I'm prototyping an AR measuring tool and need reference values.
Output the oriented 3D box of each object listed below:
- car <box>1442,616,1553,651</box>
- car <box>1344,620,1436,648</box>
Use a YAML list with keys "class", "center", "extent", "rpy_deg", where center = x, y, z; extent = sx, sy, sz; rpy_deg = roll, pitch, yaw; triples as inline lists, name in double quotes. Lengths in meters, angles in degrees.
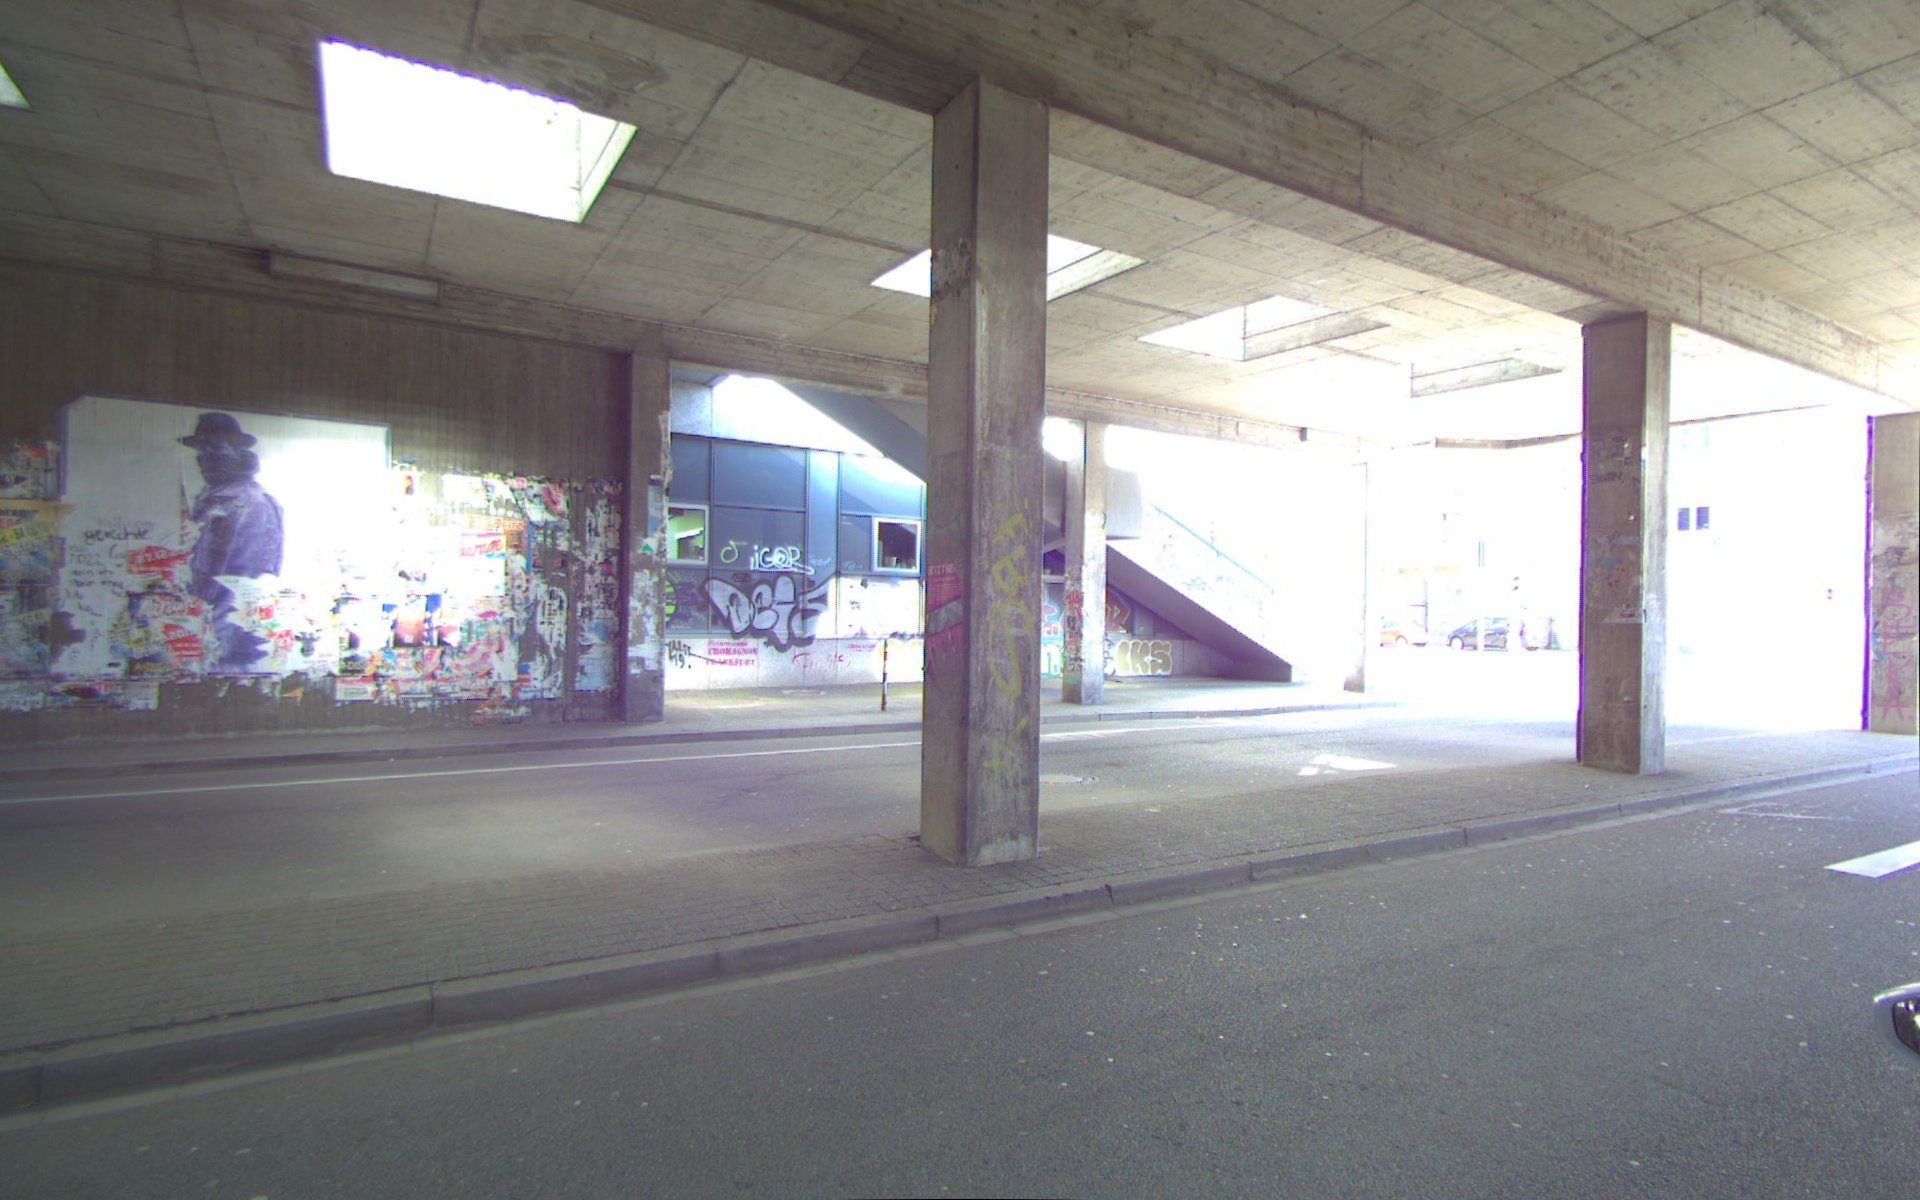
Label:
- class: "car"
  center: [25.421, 1.575, 47.654]
  extent: [2.240, 1.571, 4.111]
  rpy_deg: [1, -1, -29]
- class: "car"
  center: [22.500, 1.762, 52.665]
  extent: [2.163, 1.392, 3.971]
  rpy_deg: [1, -1, -28]
